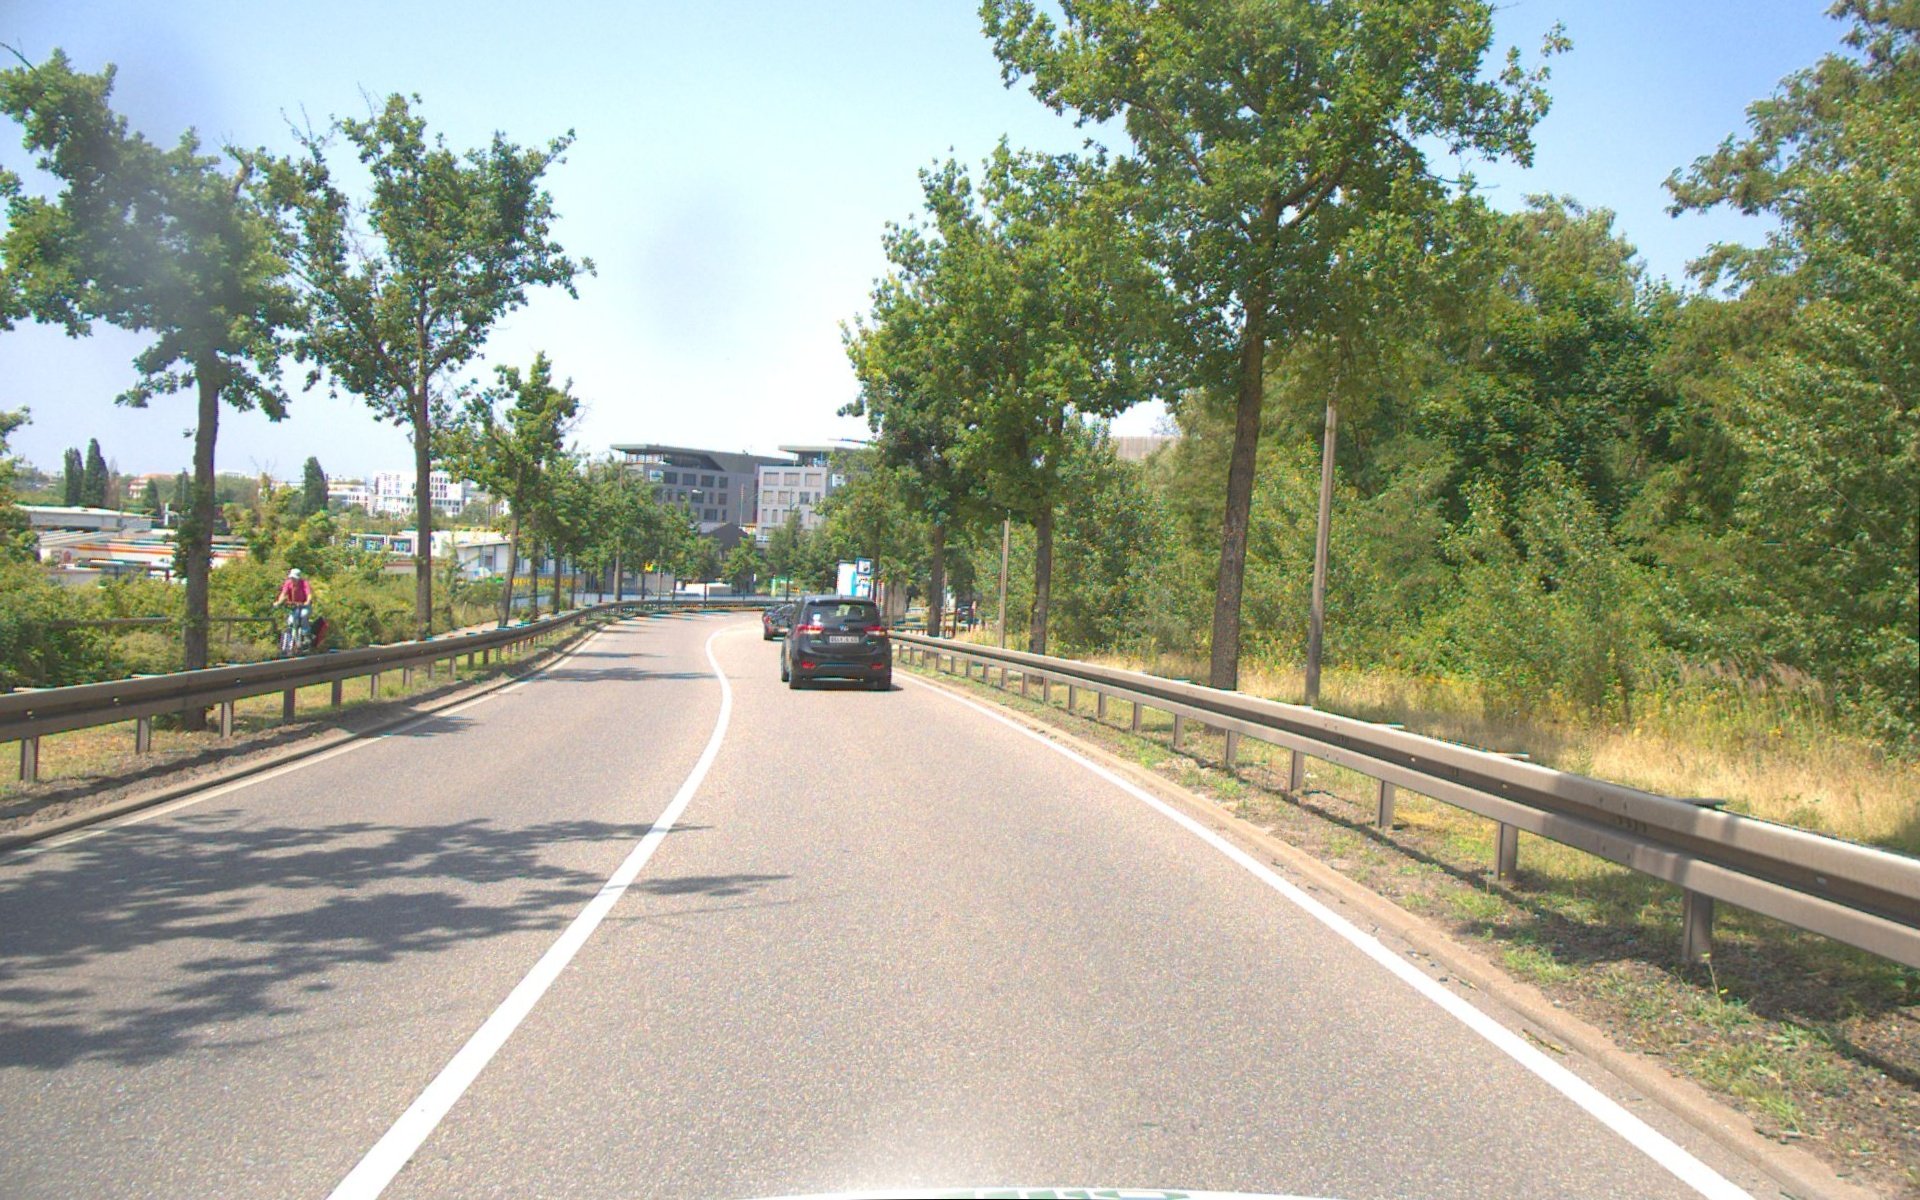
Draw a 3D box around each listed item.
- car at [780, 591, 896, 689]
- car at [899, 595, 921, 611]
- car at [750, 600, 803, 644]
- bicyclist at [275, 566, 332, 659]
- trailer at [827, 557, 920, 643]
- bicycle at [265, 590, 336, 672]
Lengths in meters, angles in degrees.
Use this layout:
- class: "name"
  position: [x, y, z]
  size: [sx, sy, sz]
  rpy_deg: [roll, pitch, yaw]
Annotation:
- class: "car"
  position: [-2.240, 0.661, 29.459]
  size: [1.734, 1.627, 4.069]
  rpy_deg: [0, 0, -9]
- class: "car"
  position: [-6.304, 0.356, 210.698]
  size: [1.769, 1.790, 4.255]
  rpy_deg: [4, -1, 11]
- class: "car"
  position: [-7.286, 0.855, 66.008]
  size: [1.918, 1.662, 4.276]
  rpy_deg: [2, 0, -5]
- class: "bicyclist"
  position: [-11.014, 0.204, 27.774]
  size: [0.728, 1.515, 0.754]
  rpy_deg: [2, -1, -12]
- class: "trailer"
  position: [-4.822, -0.121, 95.941]
  size: [3.013, 4.444, 14.785]
  rpy_deg: [3, 1, 5]
- class: "bicycle"
  position: [-11.039, 0.506, 27.728]
  size: [0.721, 1.304, 2.040]
  rpy_deg: [2, 0, -12]
